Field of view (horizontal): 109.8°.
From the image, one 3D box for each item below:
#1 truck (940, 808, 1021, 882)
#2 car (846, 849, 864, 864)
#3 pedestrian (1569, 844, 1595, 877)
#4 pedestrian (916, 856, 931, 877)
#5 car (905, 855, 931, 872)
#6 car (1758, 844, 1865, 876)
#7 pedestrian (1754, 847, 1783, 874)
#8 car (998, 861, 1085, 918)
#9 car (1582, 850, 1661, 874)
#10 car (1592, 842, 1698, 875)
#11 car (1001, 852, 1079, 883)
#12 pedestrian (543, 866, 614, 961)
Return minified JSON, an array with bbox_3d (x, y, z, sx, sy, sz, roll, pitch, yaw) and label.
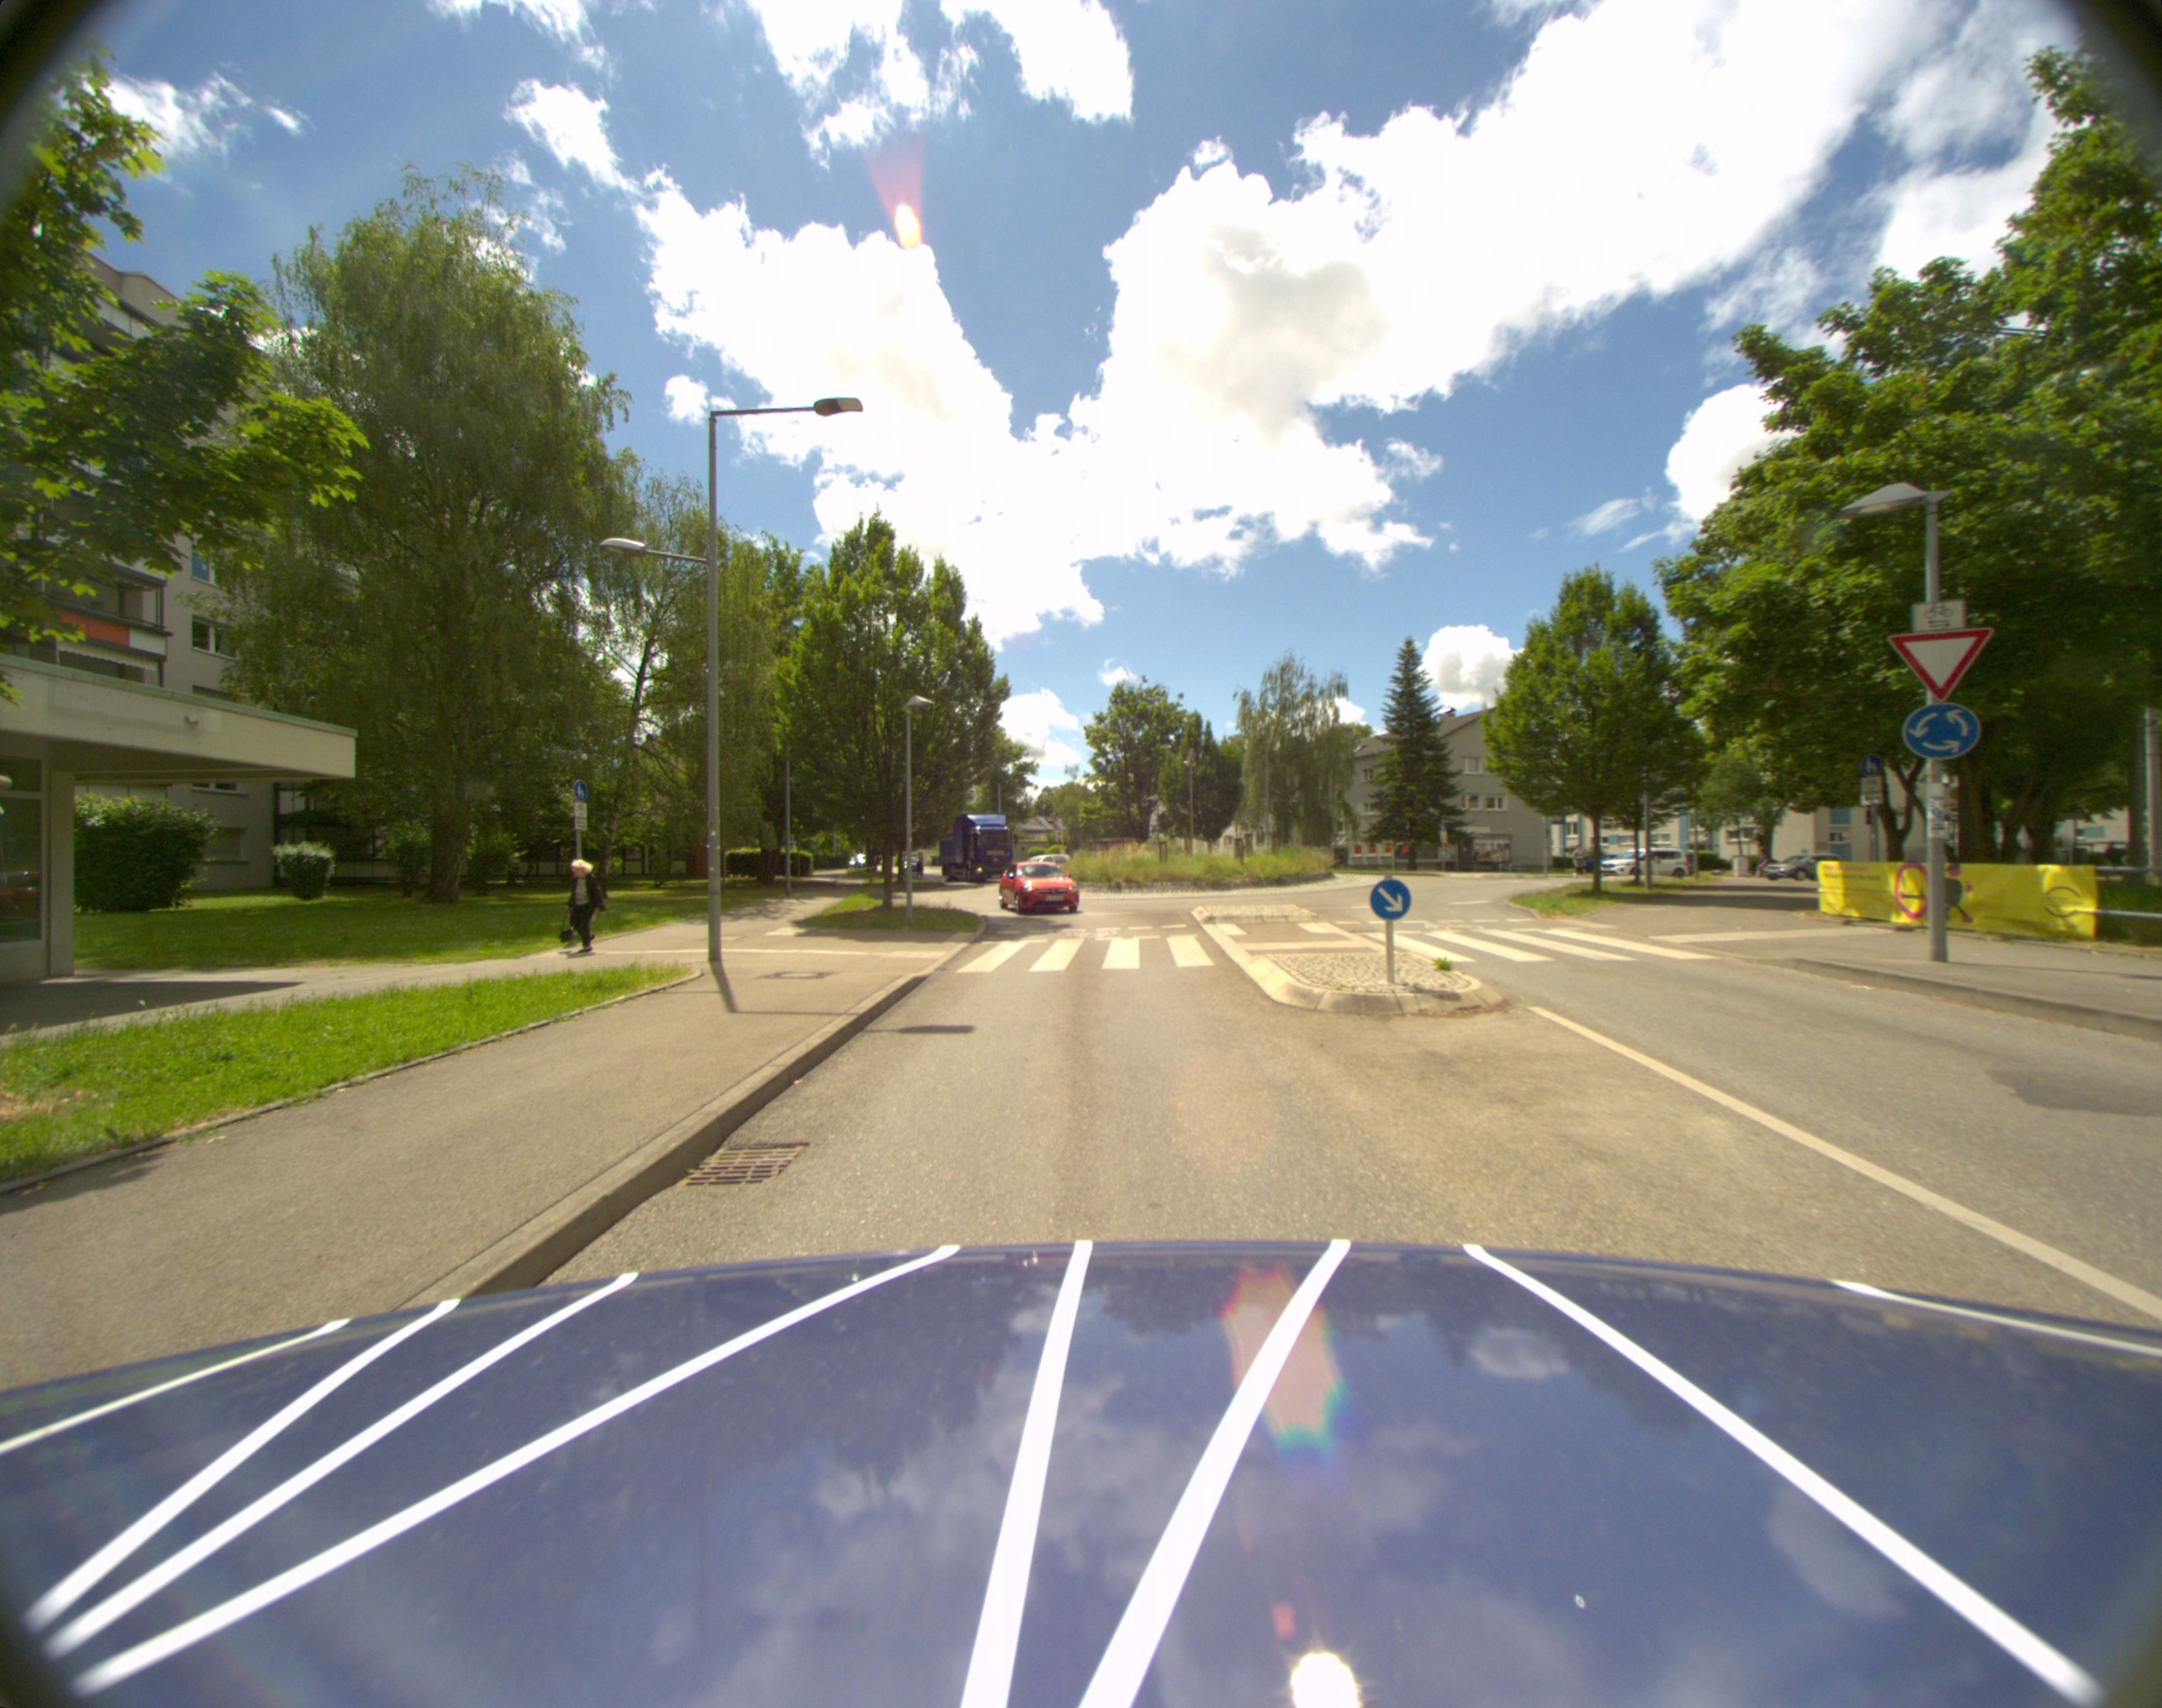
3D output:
[{"bbox_3d":[-6.360,-0.515,46.489,2.634,4.069,9.590,-1,1,-21],"label":"truck"},{"bbox_3d":[-31.012,0.263,104.268,2.002,2.002,3.993,-1,1,-21],"label":"car"},{"bbox_3d":[25.798,0.326,39.123,0.874,1.655,1.023,0,1,18],"label":"pedestrian"},{"bbox_3d":[-10.648,0.822,51.364,0.691,1.416,0.922,0,1,7],"label":"pedestrian"},{"bbox_3d":[-14.184,0.785,65.966,1.810,1.346,3.994,-1,1,-17],"label":"car"},{"bbox_3d":[42.665,0.321,44.450,4.618,1.786,1.999,0,1,-6],"label":"car"},{"bbox_3d":[43.018,0.391,47.541,1.021,1.655,0.875,0,1,-2],"label":"pedestrian"},{"bbox_3d":[-1.241,0.951,22.159,1.714,1.439,3.665,-2,0,-16],"label":"car"},{"bbox_3d":[36.270,0.504,51.104,1.810,1.514,4.117,-1,0,-18],"label":"car"},{"bbox_3d":[31.626,0.252,42.680,4.618,1.786,1.999,0,1,-6],"label":"car"},{"bbox_3d":[-2.092,0.649,39.374,3.833,1.514,1.757,-1,1,-44],"label":"car"},{"bbox_3d":[-8.400,0.981,12.719,0.726,1.529,0.654,0,1,0],"label":"pedestrian"}]
